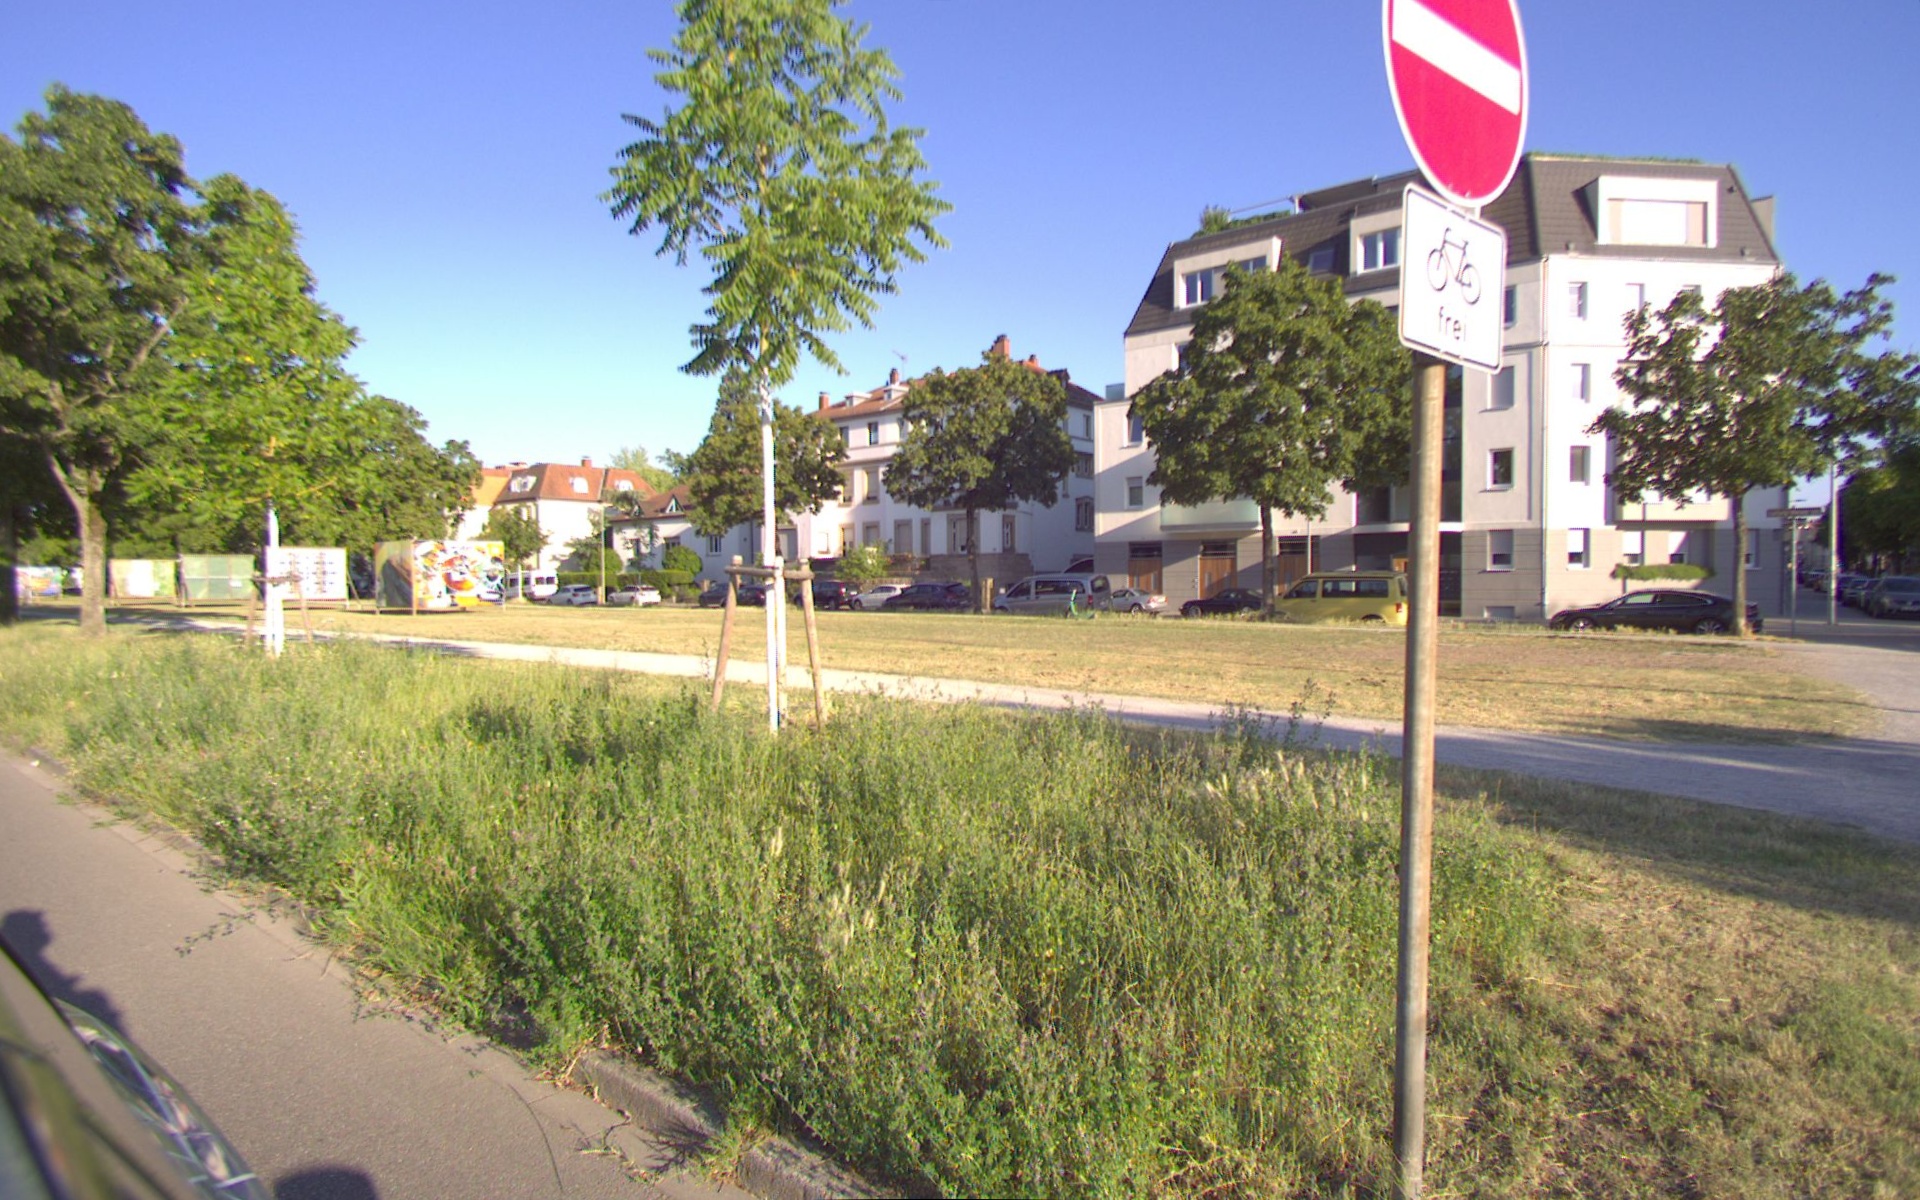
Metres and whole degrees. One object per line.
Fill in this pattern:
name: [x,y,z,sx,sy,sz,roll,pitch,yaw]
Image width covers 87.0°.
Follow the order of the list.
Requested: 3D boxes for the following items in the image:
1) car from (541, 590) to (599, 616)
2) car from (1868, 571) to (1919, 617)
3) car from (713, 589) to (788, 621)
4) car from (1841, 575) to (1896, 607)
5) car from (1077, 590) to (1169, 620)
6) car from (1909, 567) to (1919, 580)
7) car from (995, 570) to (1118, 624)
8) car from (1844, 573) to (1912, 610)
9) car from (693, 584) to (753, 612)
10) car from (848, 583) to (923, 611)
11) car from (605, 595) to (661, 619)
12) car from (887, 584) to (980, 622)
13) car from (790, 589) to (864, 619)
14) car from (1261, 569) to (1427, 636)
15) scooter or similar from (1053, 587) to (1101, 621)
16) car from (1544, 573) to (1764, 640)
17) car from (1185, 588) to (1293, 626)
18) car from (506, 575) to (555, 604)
car: [-24.760,0.139,64.190,3.833,1.592,1.802,0,1,40]
car: [34.890,-0.245,37.185,1.887,1.603,4.040,0,1,36]
car: [-10.910,0.222,52.642,3.833,1.592,1.802,0,1,40]
car: [43.560,-0.432,48.583,1.762,1.458,4.088,1,1,39]
car: [7.180,0.211,44.733,3.723,1.249,1.606,1,0,36]
car: [113.197,-3.138,117.758,3.854,1.493,1.781,0,1,41]
car: [3.818,-0.137,40.460,4.570,2.029,2.052,0,1,39]
car: [41.594,-0.390,45.931,1.887,1.603,4.040,0,1,36]
car: [-14.730,-0.126,62.891,3.999,1.674,1.621,1,1,42]
car: [-4.005,-0.174,54.315,4.004,1.457,1.621,1,0,39]
car: [-22.555,0.442,69.792,3.964,1.592,1.802,0,1,40]
car: [-1.193,0.093,44.193,3.833,1.592,1.802,0,1,40]
car: [-7.554,0.198,57.266,4.159,1.592,1.802,0,1,40]
car: [12.428,0.044,32.896,4.689,2.029,2.007,0,1,39]
scooter or similar: [3.969,0.123,34.408,1.647,1.124,0.447,0,1,40]
car: [18.884,0.142,27.673,4.836,1.681,1.765,1,1,40]
car: [11.418,0.237,41.569,3.997,1.474,1.655,0,1,40]
car: [-33.397,-0.826,78.596,4.131,2.230,1.972,1,1,42]
